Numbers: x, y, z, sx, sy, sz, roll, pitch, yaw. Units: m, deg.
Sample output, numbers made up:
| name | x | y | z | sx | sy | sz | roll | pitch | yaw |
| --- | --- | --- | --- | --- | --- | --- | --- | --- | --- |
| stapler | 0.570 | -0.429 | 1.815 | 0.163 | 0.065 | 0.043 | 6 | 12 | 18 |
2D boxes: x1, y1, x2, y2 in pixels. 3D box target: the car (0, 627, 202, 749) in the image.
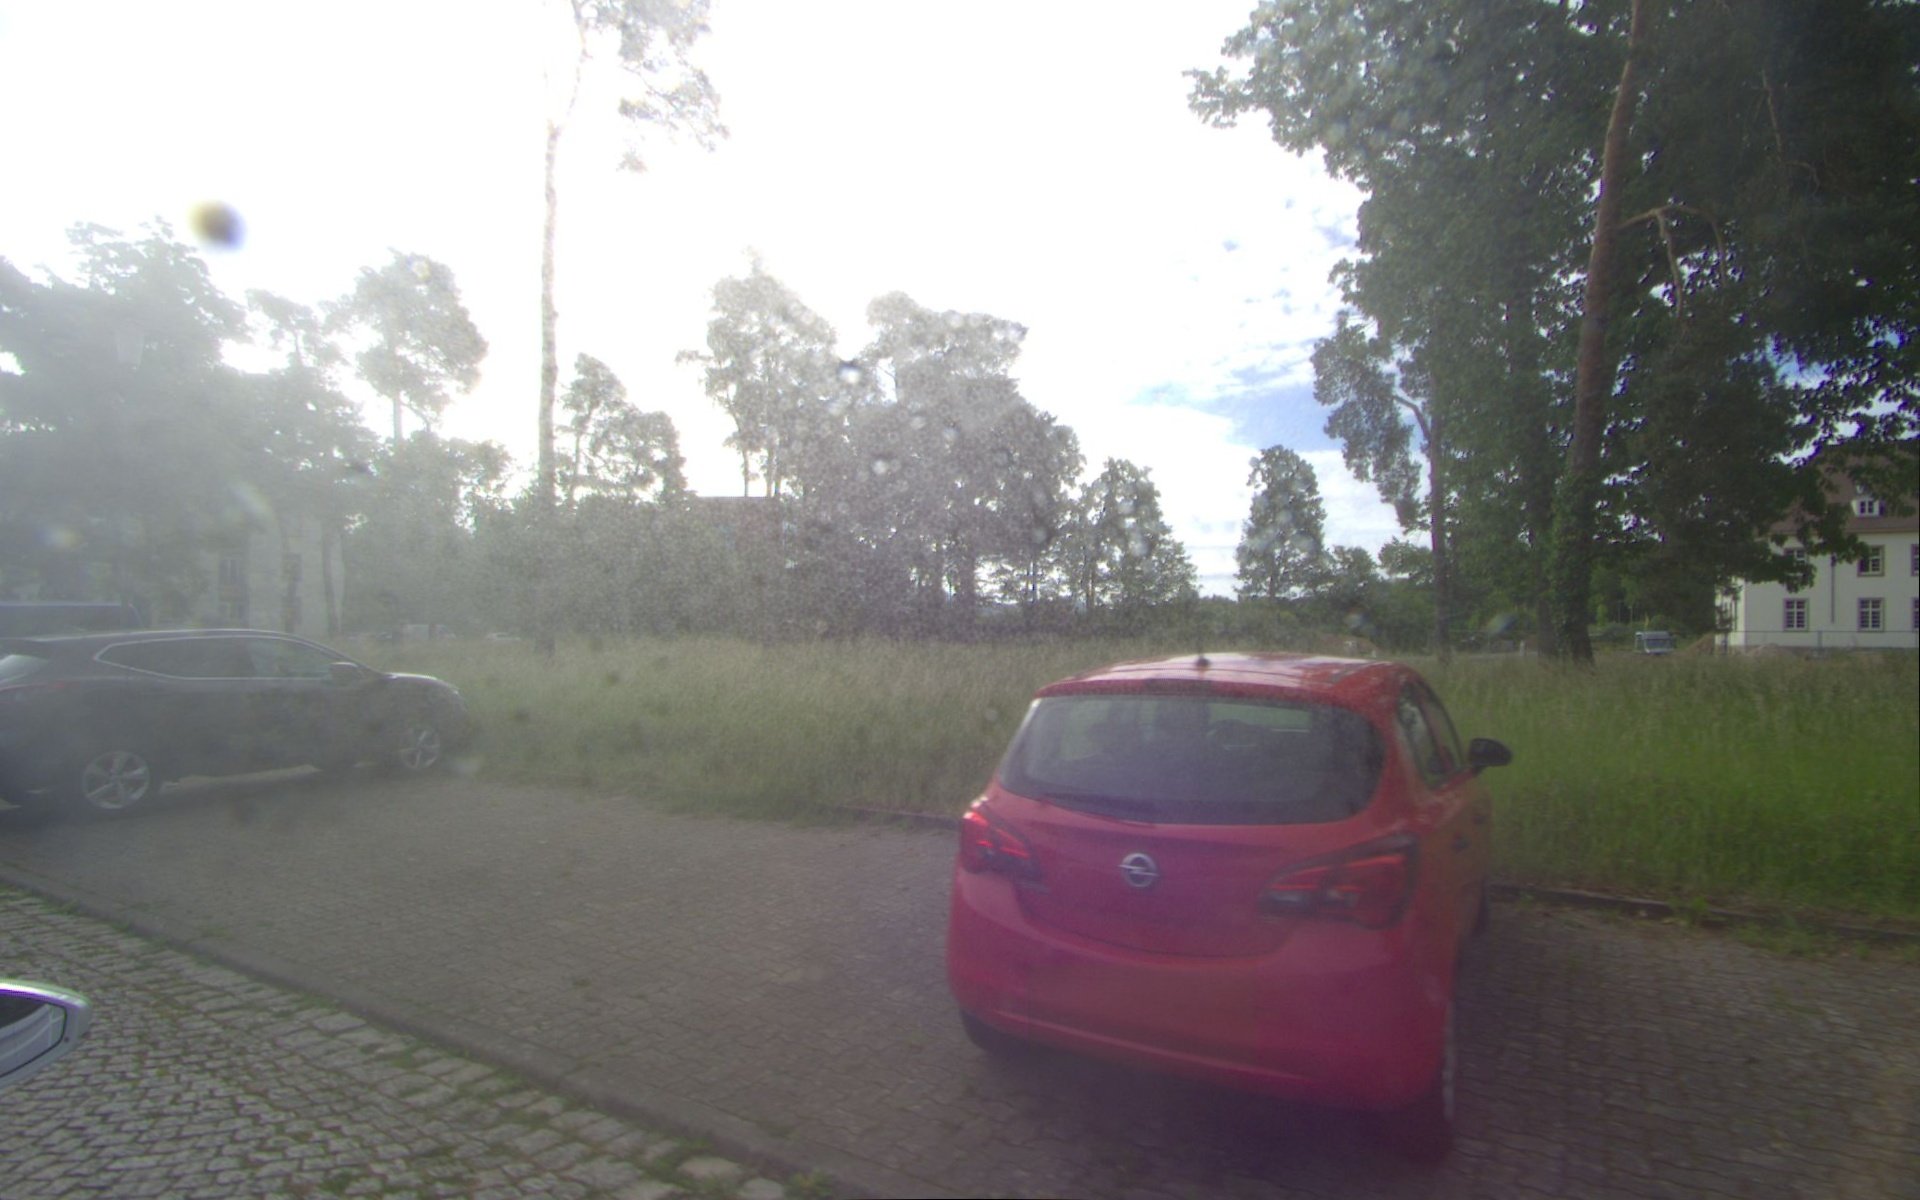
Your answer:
| name | x | y | z | sx | sy | sz | roll | pitch | yaw |
| --- | --- | --- | --- | --- | --- | --- | --- | --- | --- |
| car | -12.620 | 1.113 | 13.028 | 1.695 | 1.498 | 4.095 | 0 | -1 | 28 |

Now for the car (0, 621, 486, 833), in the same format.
| name | x | y | z | sx | sy | sz | roll | pitch | yaw |
| --- | --- | --- | --- | --- | --- | --- | --- | --- | --- |
| car | -7.183 | 1.017 | 9.914 | 1.923 | 1.615 | 4.200 | 0 | -1 | 29 |

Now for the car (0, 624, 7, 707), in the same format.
| name | x | y | z | sx | sy | sz | roll | pitch | yaw |
| --- | --- | --- | --- | --- | --- | --- | --- | --- | --- |
| car | -19.126 | 1.169 | 17.225 | 1.740 | 1.498 | 3.648 | 0 | -1 | 31 |

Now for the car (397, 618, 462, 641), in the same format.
| name | x | y | z | sx | sy | sz | roll | pitch | yaw |
| --- | --- | --- | --- | --- | --- | --- | --- | --- | --- |
| car | -52.276 | 2.912 | 98.799 | 2.075 | 2.044 | 5.295 | -1 | -4 | 32 |

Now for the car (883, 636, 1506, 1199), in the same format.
| name | x | y | z | sx | sy | sz | roll | pitch | yaw |
| --- | --- | --- | --- | --- | --- | --- | --- | --- | --- |
| car | 1.469 | 0.960 | 4.595 | 1.758 | 1.516 | 3.919 | 0 | -1 | 30 |

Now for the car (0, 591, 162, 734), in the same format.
| name | x | y | z | sx | sy | sz | roll | pitch | yaw |
| --- | --- | --- | --- | --- | --- | --- | --- | --- | --- |
| car | -14.739 | 0.886 | 14.367 | 1.936 | 2.030 | 4.791 | 0 | -1 | 29 |

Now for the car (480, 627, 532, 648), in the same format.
| name | x | y | z | sx | sy | sz | roll | pitch | yaw |
| --- | --- | --- | --- | --- | --- | --- | --- | --- | --- |
| car | -42.687 | 3.553 | 94.227 | 1.873 | 1.826 | 4.127 | -1 | -4 | 33 |
